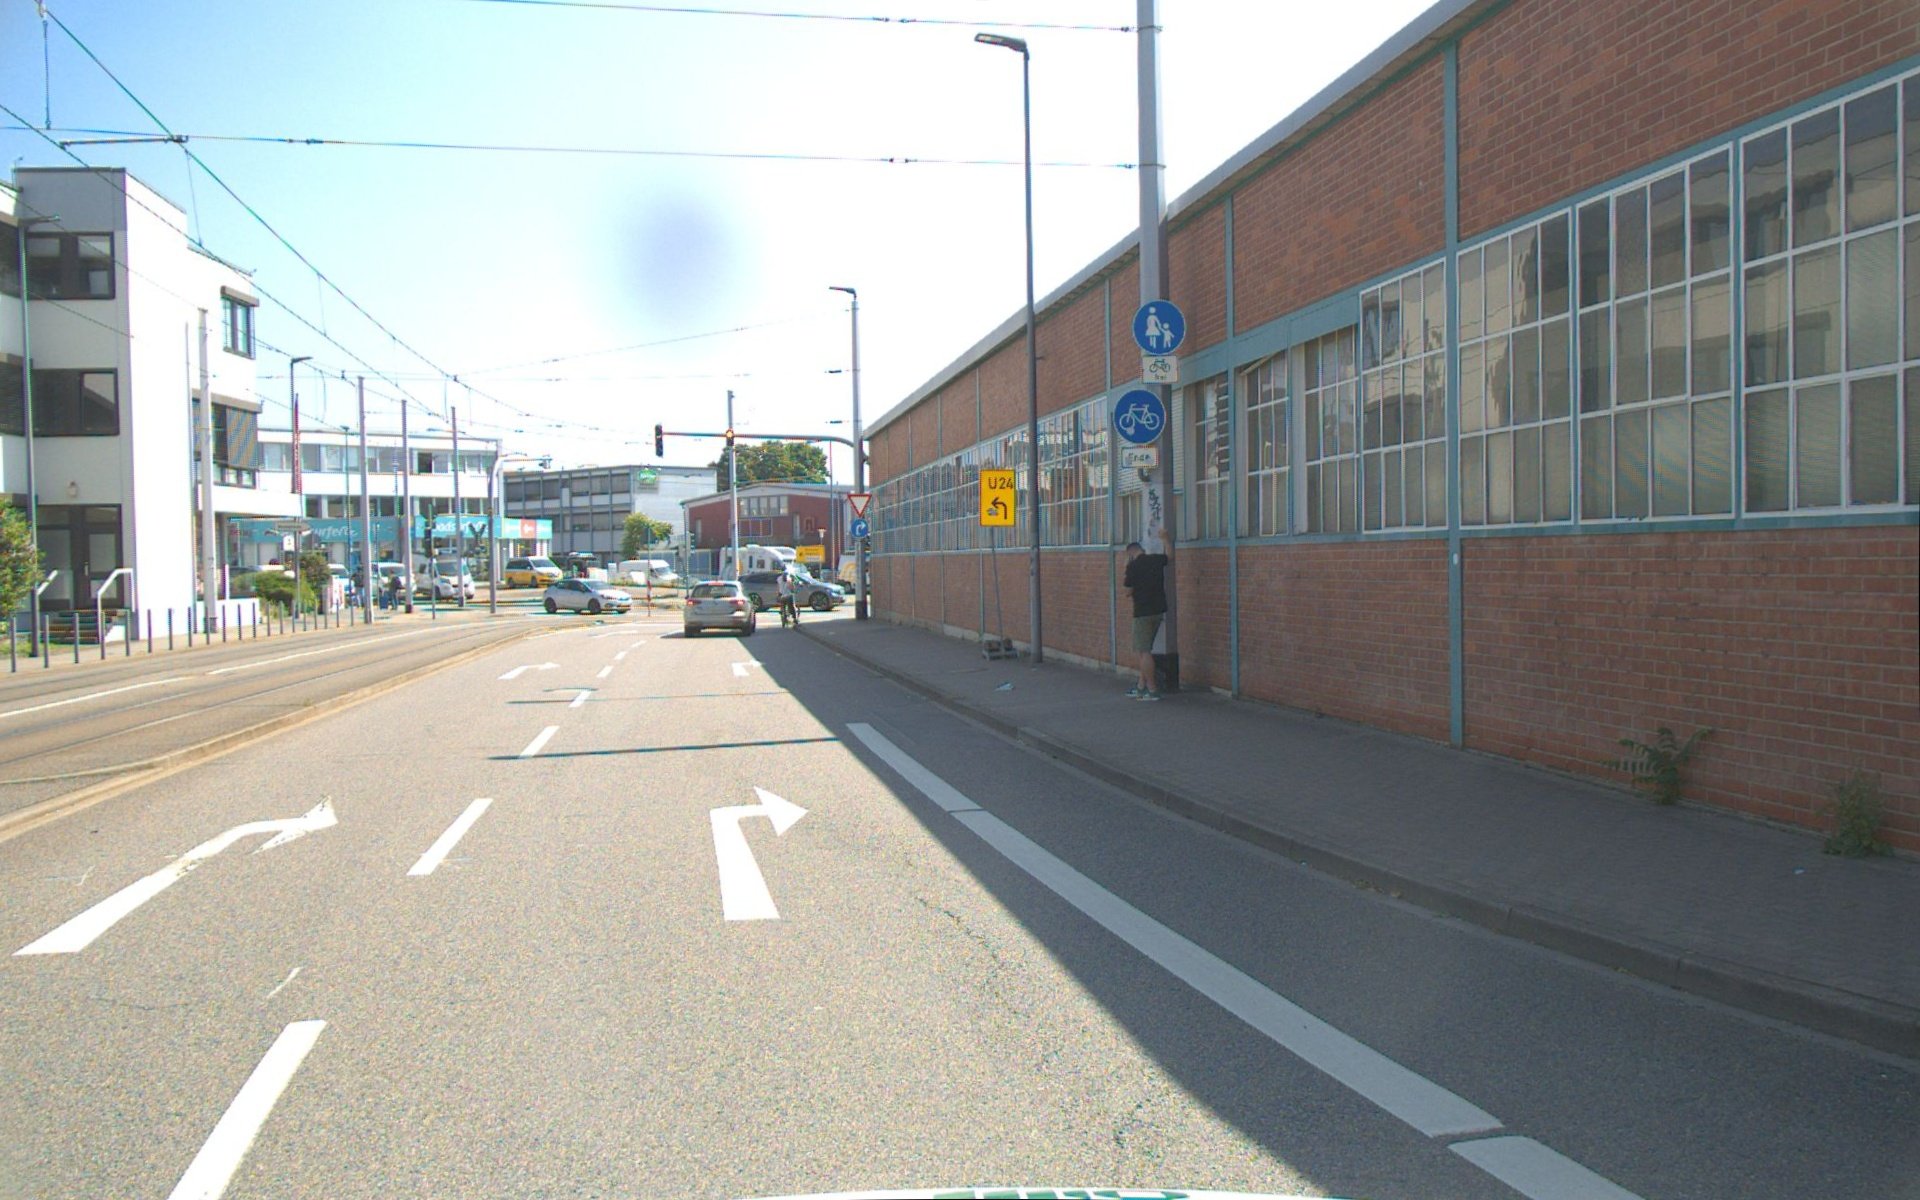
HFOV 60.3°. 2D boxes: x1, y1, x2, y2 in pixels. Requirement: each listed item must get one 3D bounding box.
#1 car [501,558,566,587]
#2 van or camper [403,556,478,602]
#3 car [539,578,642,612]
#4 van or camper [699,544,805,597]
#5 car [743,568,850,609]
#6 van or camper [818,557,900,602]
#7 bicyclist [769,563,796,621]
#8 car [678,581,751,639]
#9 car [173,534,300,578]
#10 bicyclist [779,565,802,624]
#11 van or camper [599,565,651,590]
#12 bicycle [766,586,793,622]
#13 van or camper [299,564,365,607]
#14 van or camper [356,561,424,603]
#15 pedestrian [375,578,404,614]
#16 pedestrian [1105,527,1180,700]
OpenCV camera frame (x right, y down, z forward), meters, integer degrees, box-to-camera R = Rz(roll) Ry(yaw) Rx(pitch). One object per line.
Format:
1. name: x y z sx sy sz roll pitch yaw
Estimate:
1. car: -27.448 -1.743 106.453 1.928 1.789 5.043 -2 1 -42
2. van or camper: -28.926 -1.205 92.023 2.018 2.335 5.732 -3 4 -38
3. car: -15.631 -0.201 69.991 4.112 1.398 1.800 0 1 29
4. van or camper: -12.765 -1.844 101.053 6.855 2.981 2.343 2 4 39
5. car: -6.550 -0.467 66.533 3.902 1.534 1.881 -1 1 9
6. van or camper: -6.382 -1.347 103.917 2.273 2.482 5.298 -3 6 -45
7. bicyclist: -5.374 -0.251 50.176 0.770 1.751 1.145 -1 1 -6
8. car: -6.721 0.237 45.600 1.712 1.484 3.996 -1 1 -5
9. car: -27.216 -1.663 62.312 3.910 1.545 1.998 -1 3 -6
10. bicyclist: -5.390 -0.183 52.667 0.694 1.842 0.982 -1 1 -7
11. van or camper: -26.957 -1.809 133.152 3.919 1.981 1.993 0 1 35
12. bicycle: -5.479 0.111 50.277 0.779 1.039 2.148 -1 1 -5
13. van or camper: -33.974 -0.817 89.411 1.981 2.048 4.697 -3 4 -39
14. van or camper: -31.204 -1.004 90.491 1.981 2.048 4.941 -3 4 -38
15. pedestrian: -24.019 -0.187 69.654 1.112 1.480 0.833 -1 1 -19
16. pedestrian: 1.935 0.127 17.579 0.674 1.795 0.447 -1 3 -20
